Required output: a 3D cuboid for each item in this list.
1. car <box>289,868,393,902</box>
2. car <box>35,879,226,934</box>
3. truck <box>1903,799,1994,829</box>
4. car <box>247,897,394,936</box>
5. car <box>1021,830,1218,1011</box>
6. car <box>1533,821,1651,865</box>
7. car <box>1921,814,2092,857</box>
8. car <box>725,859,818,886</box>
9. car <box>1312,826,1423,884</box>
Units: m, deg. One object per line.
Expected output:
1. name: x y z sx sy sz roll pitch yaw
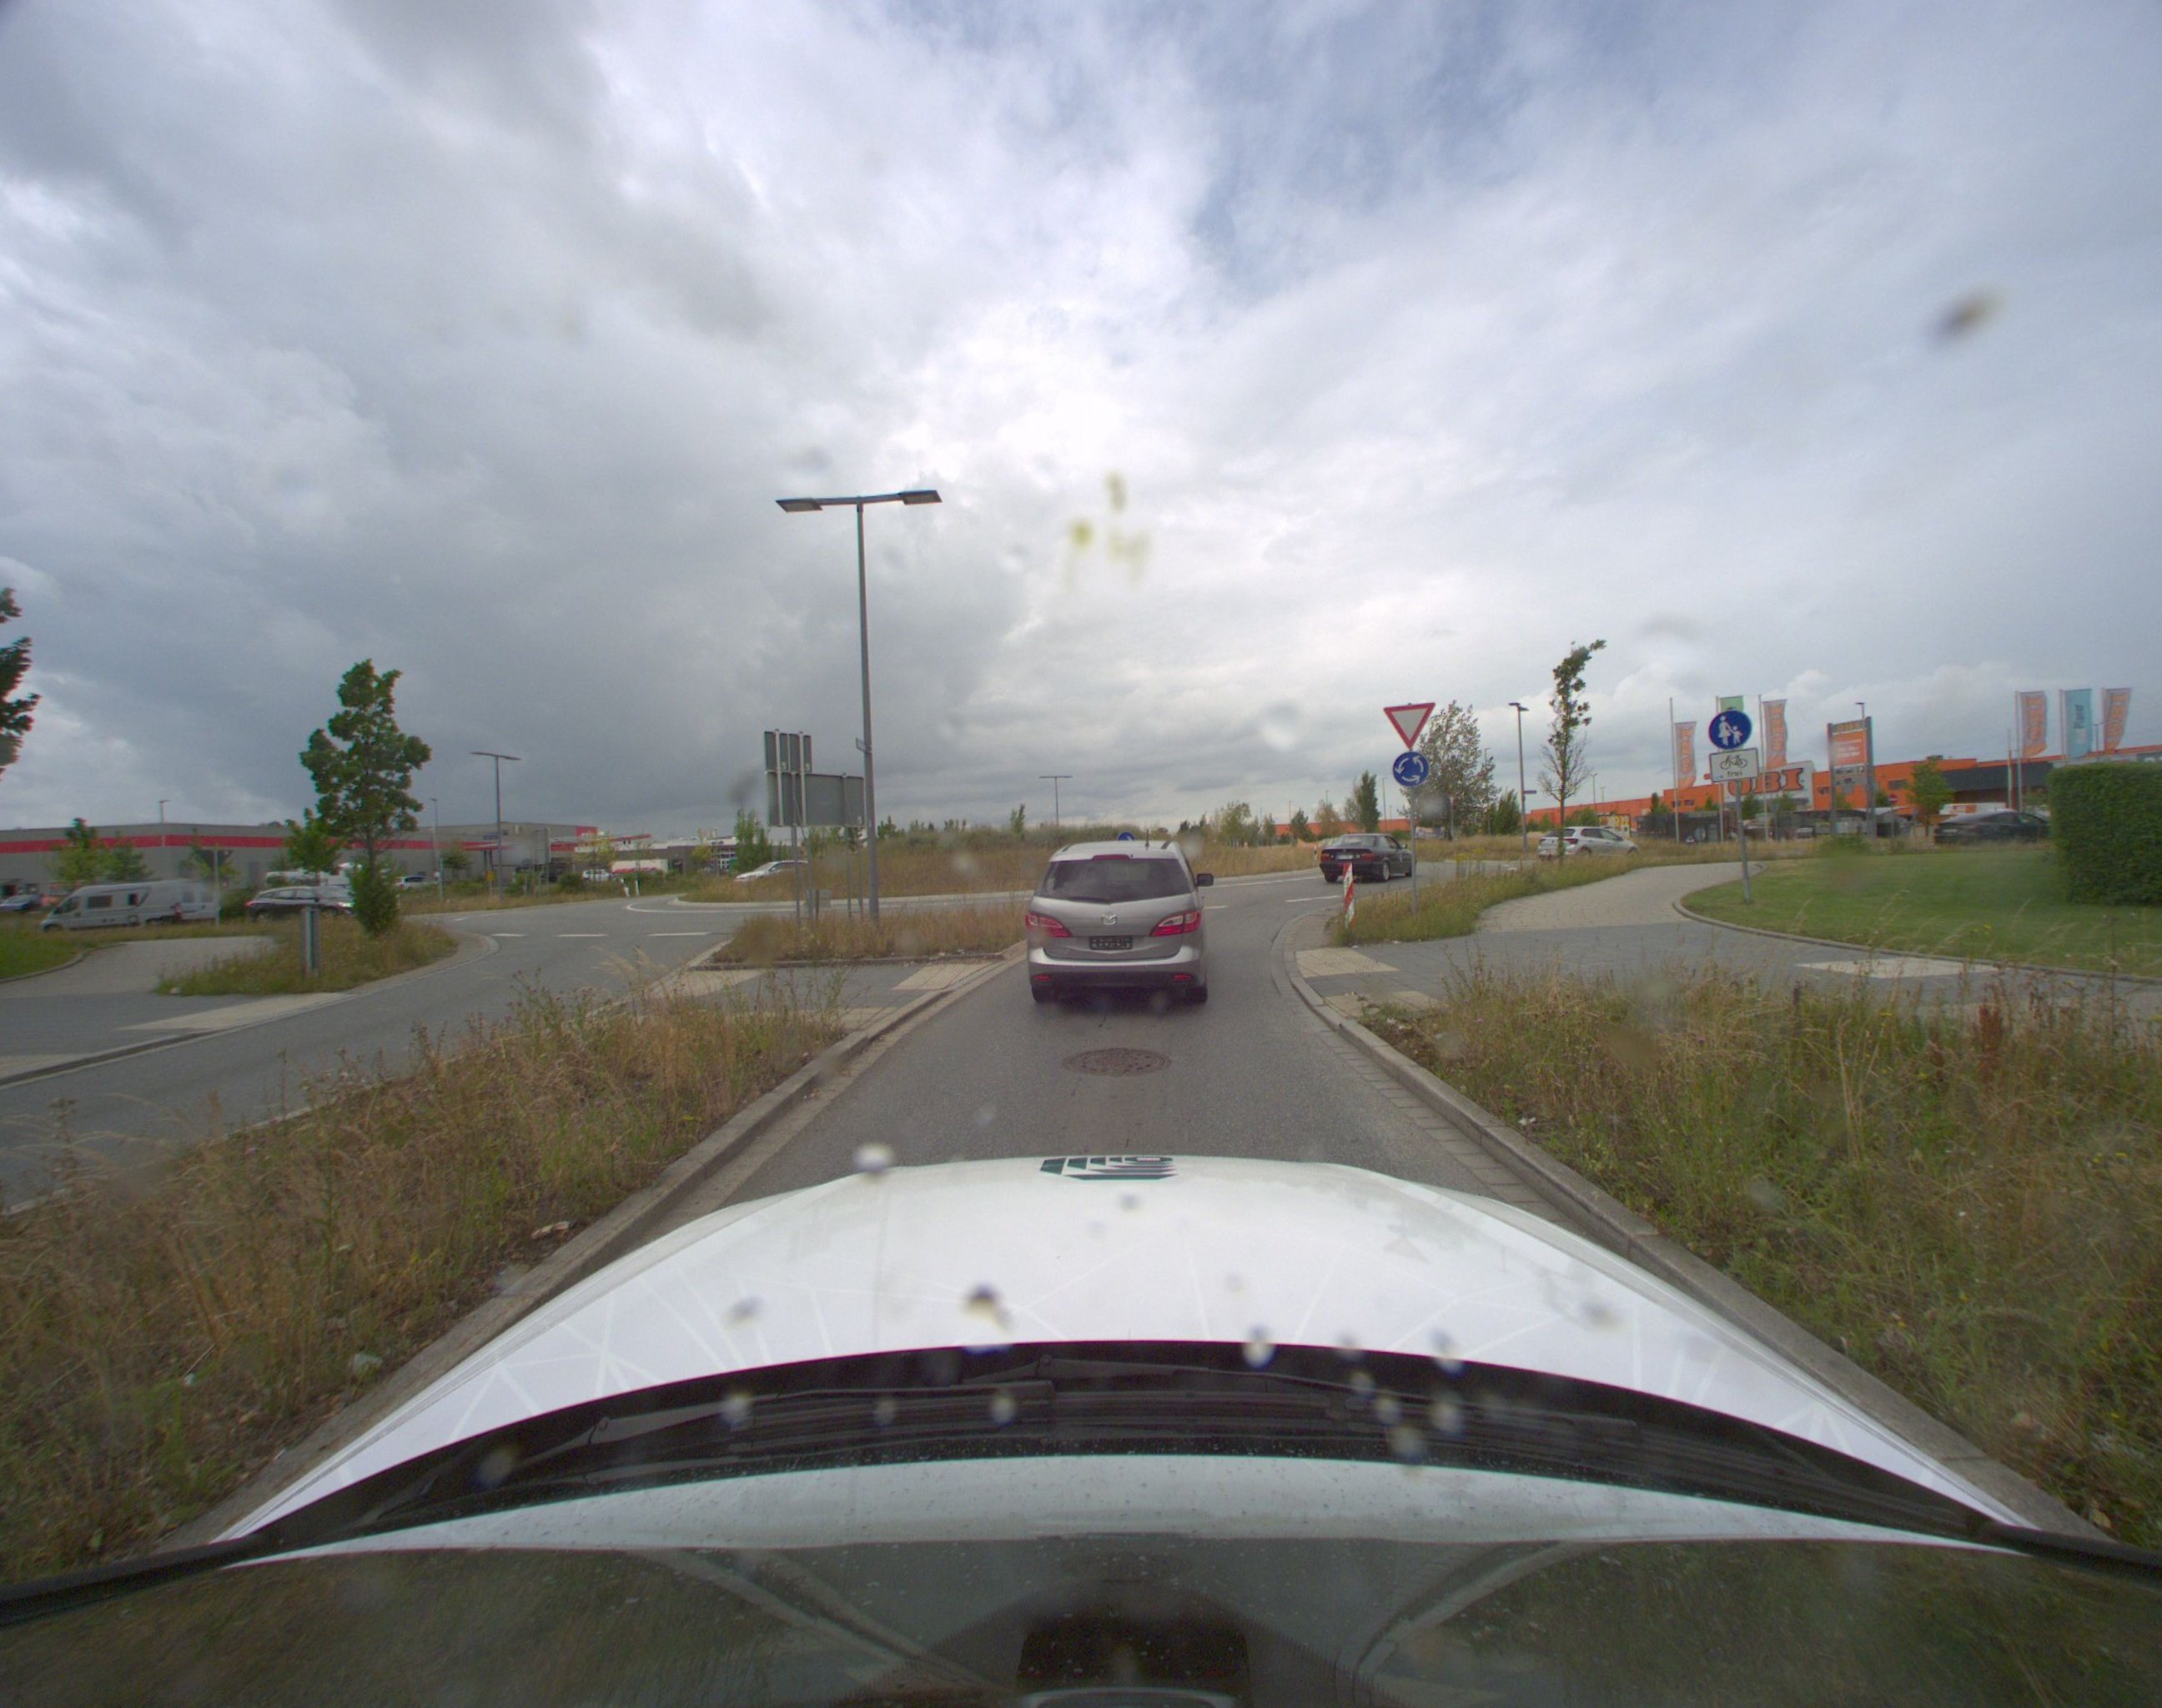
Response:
1. car: -66.804 2.753 73.807 2.455 2.820 7.685 -1 -1 -1
2. car: -44.431 2.415 38.218 5.688 2.387 2.275 -1 -2 -8
3. truck: 82.517 -3.762 77.615 2.429 2.484 5.539 -1 -1 -6
4. car: -27.811 2.268 29.891 3.581 1.251 1.672 -1 -1 -8
5. car: 0.481 0.562 9.253 1.730 1.598 4.002 -1 1 4
6. car: 19.291 -0.440 30.749 4.003 1.463 1.800 -3 3 -22
7. car: 38.323 -0.775 33.812 4.739 1.498 1.946 -3 2 2
8. car: -16.978 1.004 44.905 1.705 1.409 4.673 -2 -2 34
9. car: 8.268 -0.032 23.297 1.721 1.403 4.023 1 3 39
